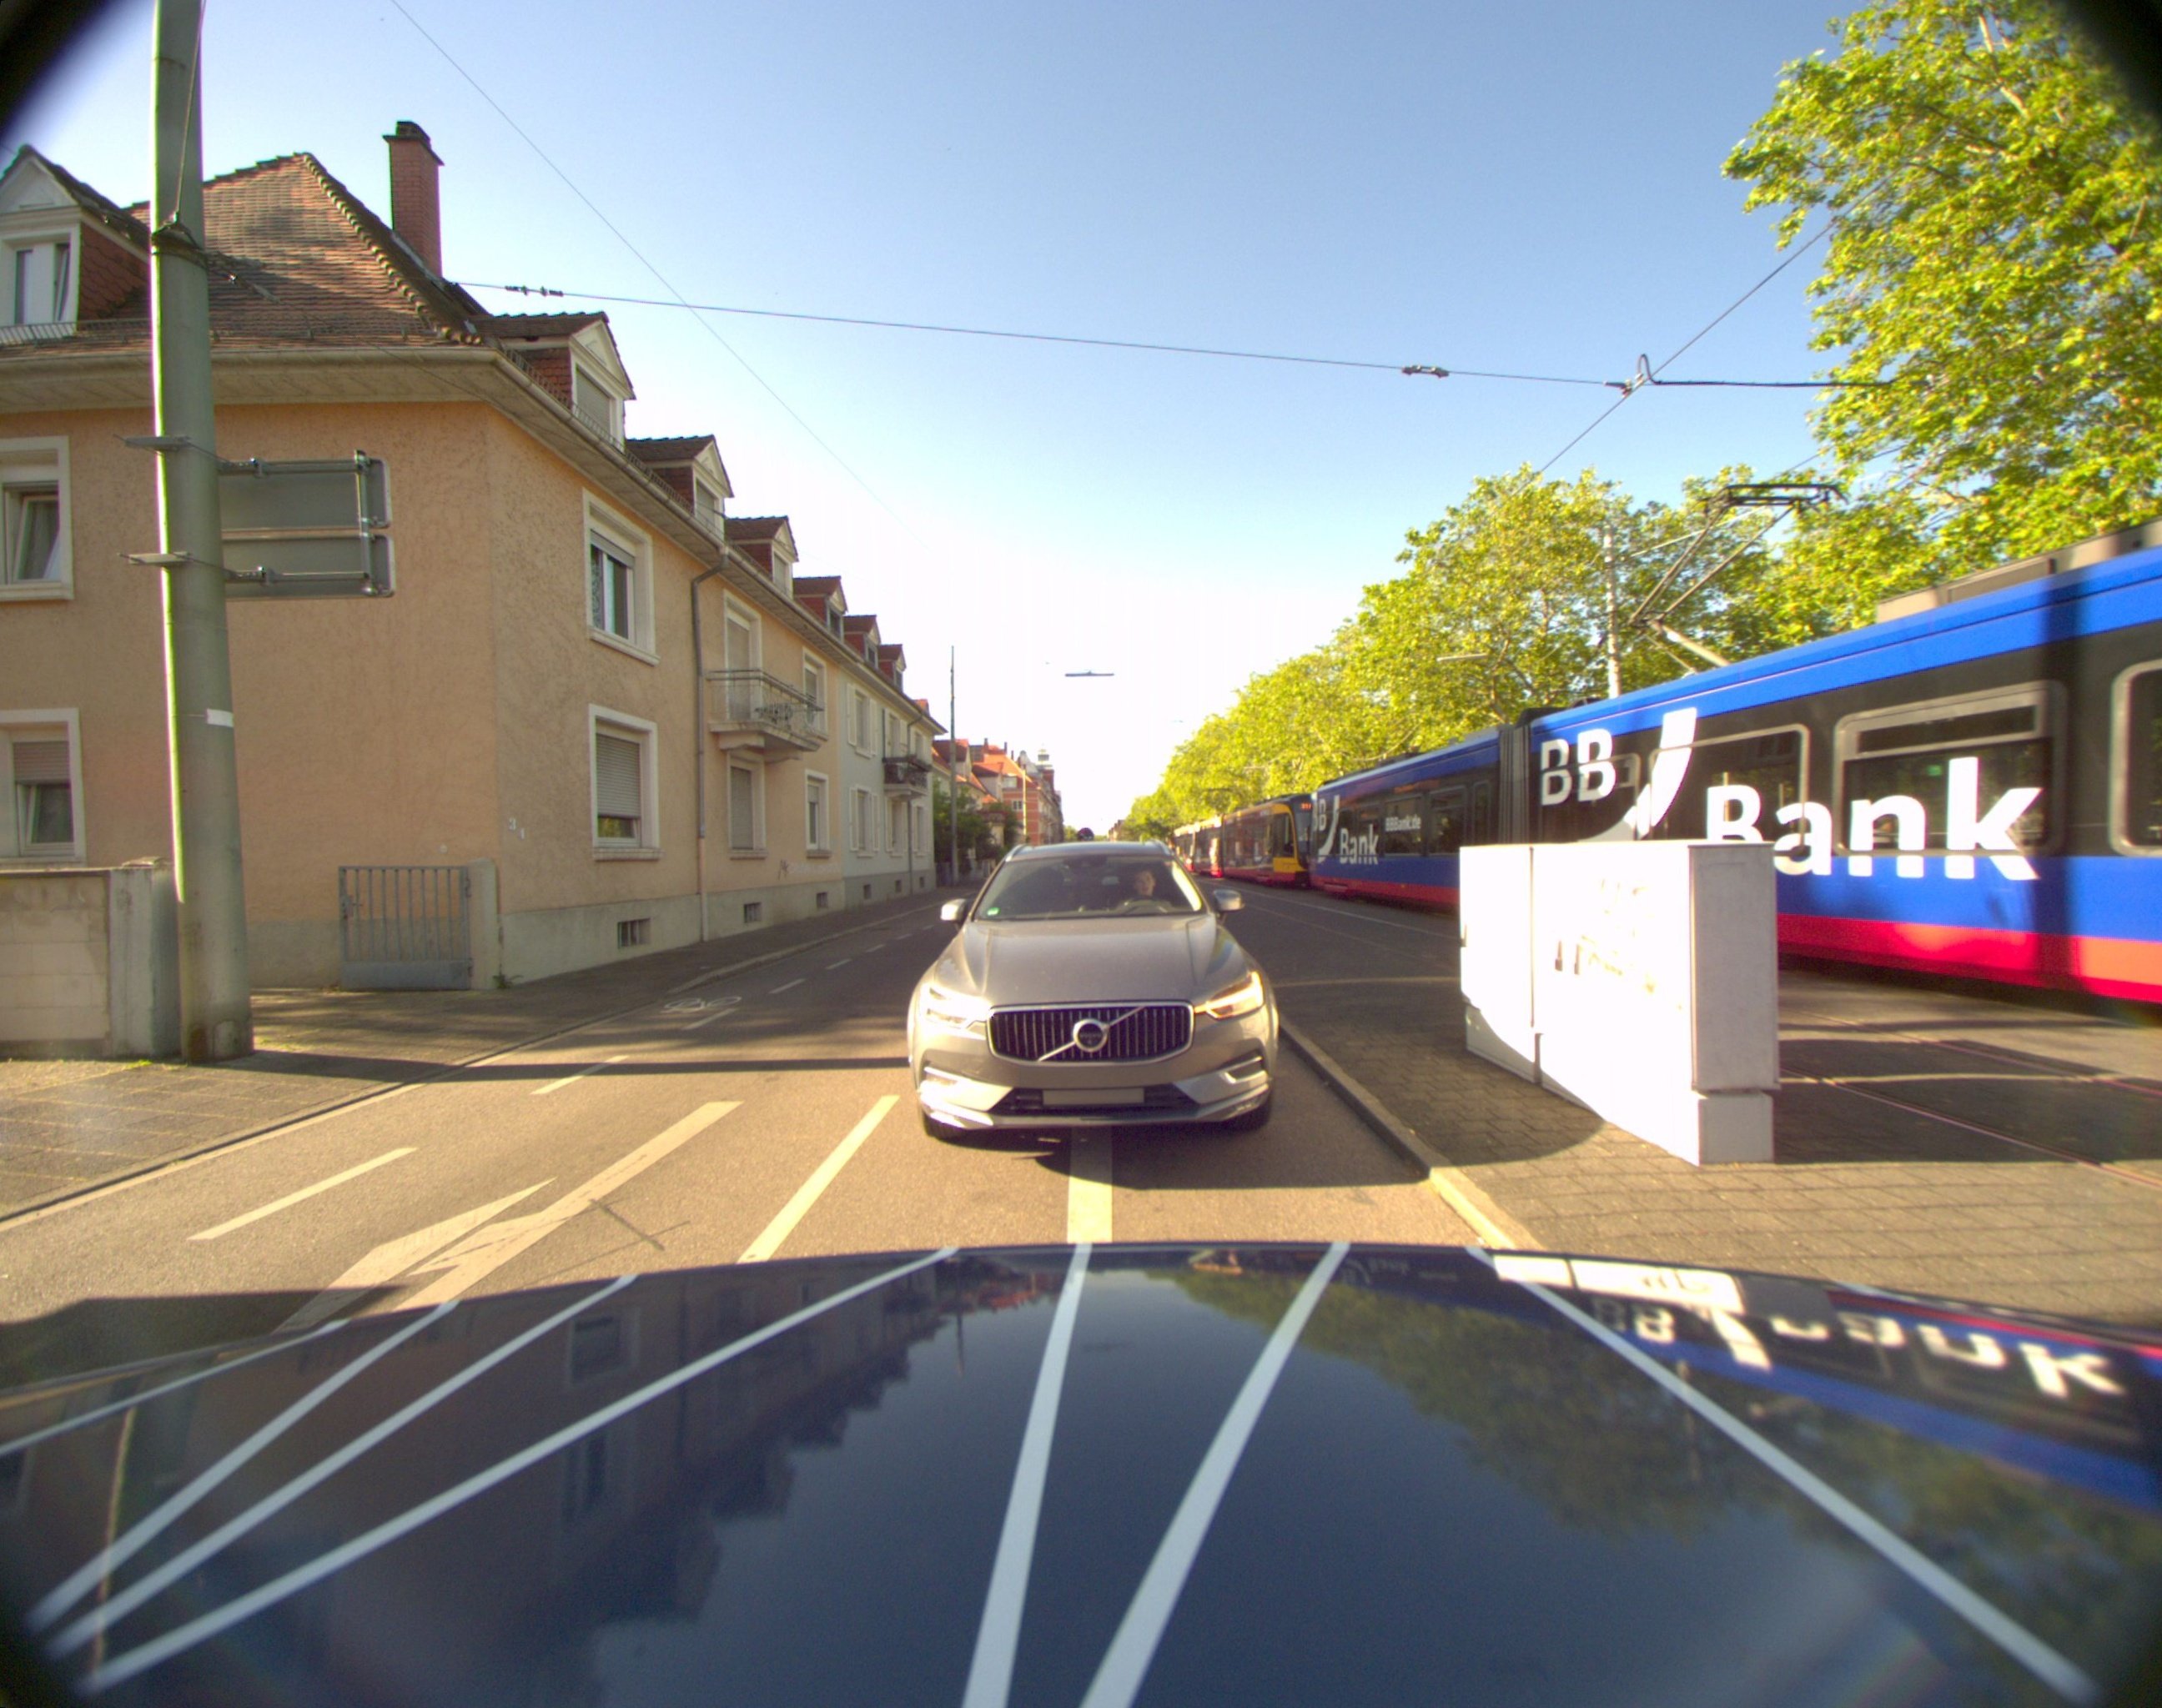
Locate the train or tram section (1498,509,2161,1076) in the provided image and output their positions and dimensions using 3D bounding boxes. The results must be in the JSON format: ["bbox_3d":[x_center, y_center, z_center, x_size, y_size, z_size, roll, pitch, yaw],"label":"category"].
[{"bbox_3d":[8.350,-0.415,5.768,3.063,3.592,12.498,-1,0,-2],"label":"train or tram section"}]

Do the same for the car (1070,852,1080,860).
[{"bbox_3d":[-1.108,0.301,148.132,1.882,1.477,3.999,-1,0,-1],"label":"car"}]

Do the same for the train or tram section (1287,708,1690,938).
[{"bbox_3d":[8.120,-0.519,18.101,3.063,3.592,12.113,-1,0,0],"label":"train or tram section"}]

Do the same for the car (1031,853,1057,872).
[{"bbox_3d":[-2.936,0.661,60.781,1.882,1.477,3.999,-1,0,-1],"label":"car"}]

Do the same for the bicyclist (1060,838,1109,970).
[{"bbox_3d":[0.048,0.646,10.226,0.600,1.709,0.662,-1,1,1],"label":"bicyclist"}]

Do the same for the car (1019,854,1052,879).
[{"bbox_3d":[-2.838,0.779,48.443,1.882,1.477,3.999,-1,0,-1],"label":"car"}]

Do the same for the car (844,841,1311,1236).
[{"bbox_3d":[0.017,0.764,5.419,1.917,1.621,4.502,-1,0,1],"label":"car"}]

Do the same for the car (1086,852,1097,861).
[{"bbox_3d":[1.797,0.389,135.234,1.882,1.477,3.999,-1,0,-1],"label":"car"}]

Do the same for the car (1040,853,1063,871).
[{"bbox_3d":[-2.611,0.695,67.083,1.882,1.477,3.999,-1,0,-1],"label":"car"}]

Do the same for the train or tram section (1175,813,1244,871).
[{"bbox_3d":[8.948,-0.799,54.686,3.062,3.592,12.889,-1,0,1],"label":"train or tram section"}]

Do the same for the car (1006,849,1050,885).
[{"bbox_3d":[-2.907,0.681,42.901,1.932,1.834,5.313,-1,0,2],"label":"car"}]

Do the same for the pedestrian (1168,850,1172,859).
[{"bbox_3d":[15.863,0.092,135.146,0.578,1.632,0.677,-1,1,3],"label":"pedestrian"}]

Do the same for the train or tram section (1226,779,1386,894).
[{"bbox_3d":[8.312,-0.586,30.244,3.062,3.592,12.115,-1,0,1],"label":"train or tram section"}]

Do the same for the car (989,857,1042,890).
[{"bbox_3d":[-3.141,0.915,37.175,1.881,1.477,4.001,-1,0,5],"label":"car"}]

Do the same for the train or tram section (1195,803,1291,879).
[{"bbox_3d":[8.654,-0.651,42.278,3.062,3.592,11.950,-1,0,2],"label":"train or tram section"}]

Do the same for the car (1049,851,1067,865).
[{"bbox_3d":[-2.530,0.451,85.544,1.882,1.477,3.999,-1,0,-1],"label":"car"}]
